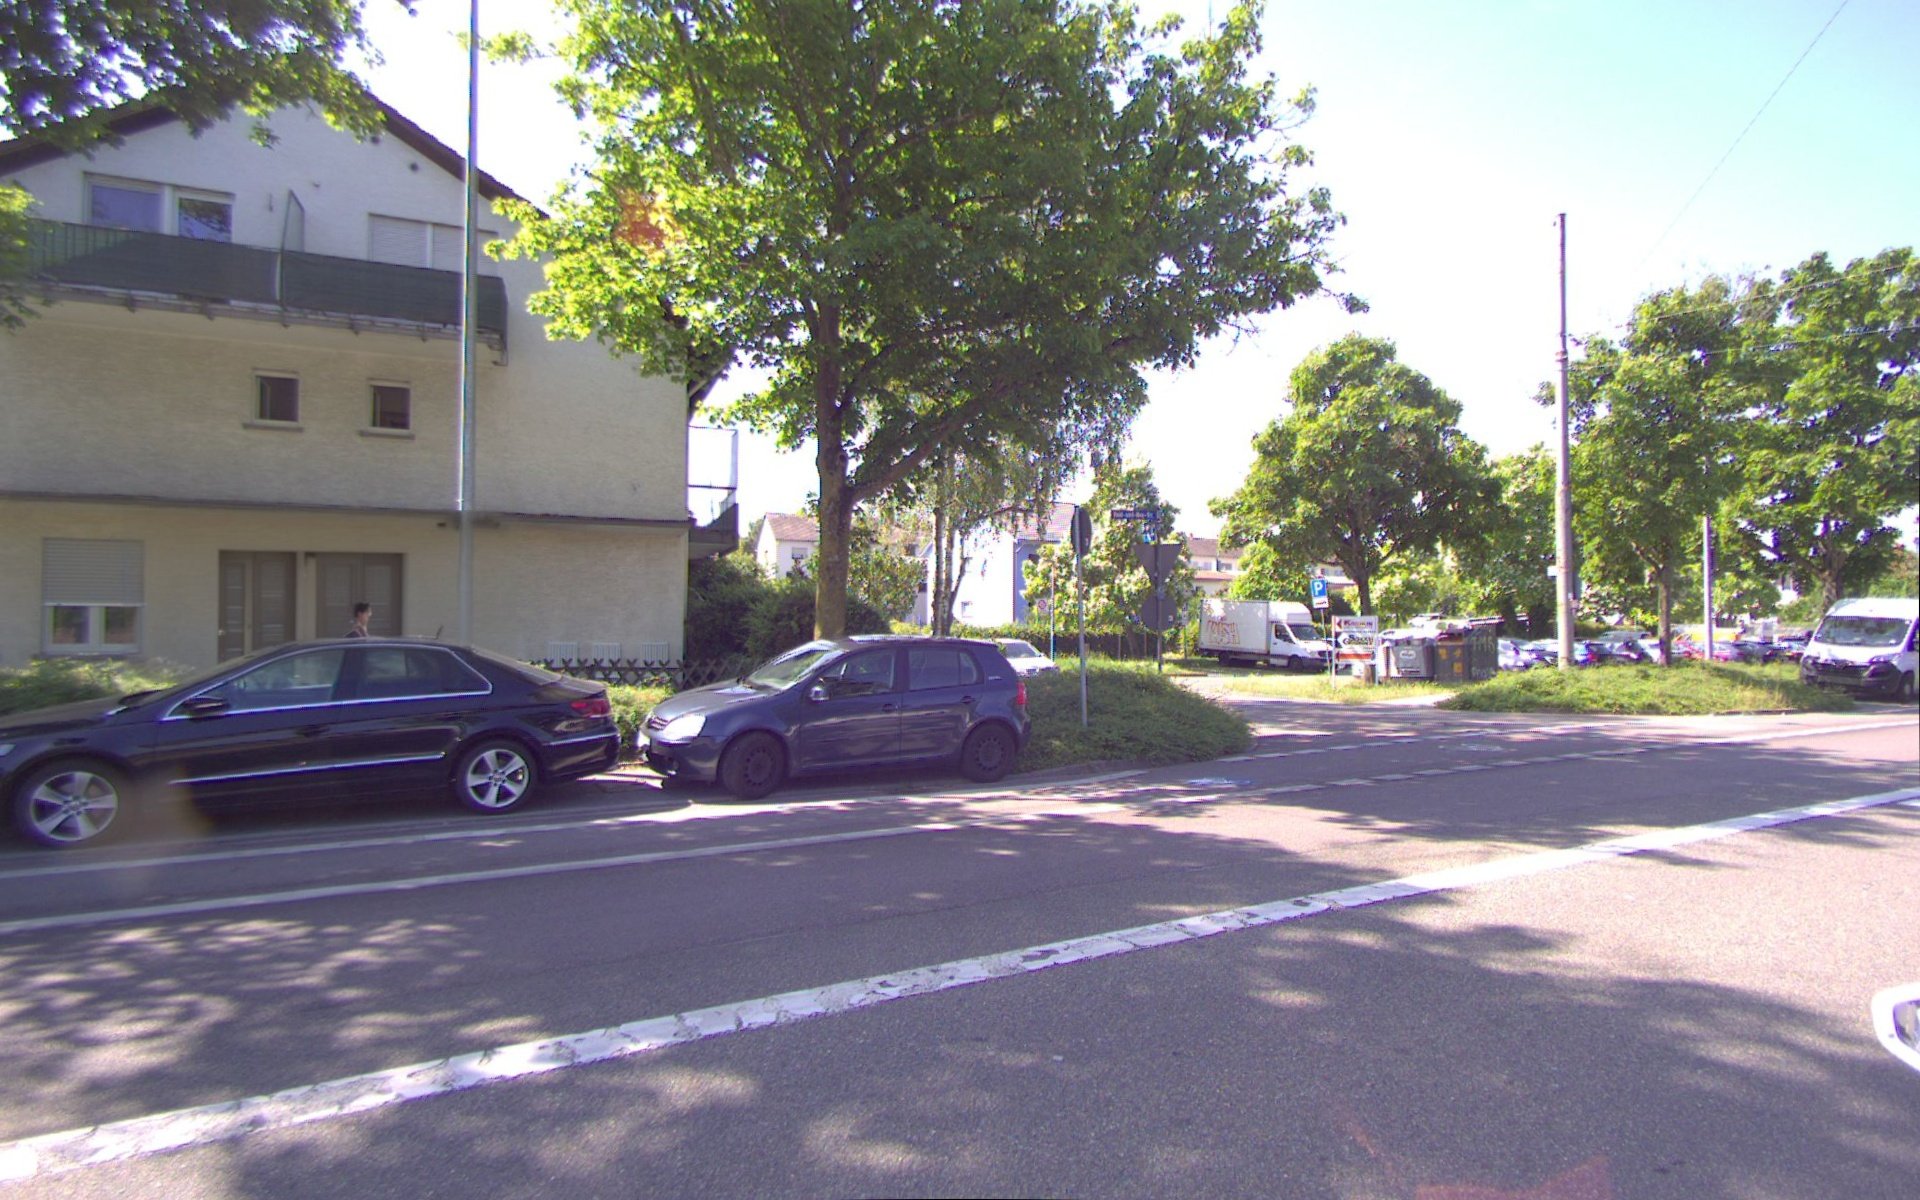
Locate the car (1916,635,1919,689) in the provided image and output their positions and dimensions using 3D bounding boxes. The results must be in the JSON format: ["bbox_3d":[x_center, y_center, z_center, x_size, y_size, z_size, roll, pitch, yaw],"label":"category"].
[{"bbox_3d":[29.357,1.766,28.733,4.148,1.536,1.835,1,-2,-30],"label":"car"}]

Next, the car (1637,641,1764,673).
[{"bbox_3d":[31.136,2.356,42.369,1.748,1.241,3.973,1,-2,-27],"label":"car"}]

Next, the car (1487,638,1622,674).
[{"bbox_3d":[21.771,2.008,36.959,1.748,1.241,3.973,1,-2,-27],"label":"car"}]

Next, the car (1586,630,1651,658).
[{"bbox_3d":[44.890,2.980,68.539,1.535,1.901,3.406,1,-2,-31],"label":"car"}]

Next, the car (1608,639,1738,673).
[{"bbox_3d":[28.919,2.258,40.875,1.748,1.281,3.973,1,-2,-27],"label":"car"}]

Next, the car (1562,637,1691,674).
[{"bbox_3d":[26.599,2.189,40.203,1.748,1.368,3.973,1,-2,-27],"label":"car"}]

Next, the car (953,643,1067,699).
[{"bbox_3d":[1.321,1.951,28.415,1.687,1.437,3.979,1,-2,-23],"label":"car"}]

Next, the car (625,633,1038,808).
[{"bbox_3d":[-1.292,1.123,10.489,3.956,1.470,1.634,2,0,-29],"label":"car"}]

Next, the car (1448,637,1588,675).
[{"bbox_3d":[19.513,1.935,35.289,1.751,1.241,3.967,1,-2,-31],"label":"car"}]

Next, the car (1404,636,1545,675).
[{"bbox_3d":[17.396,1.851,34.159,1.751,1.241,3.967,1,-2,-31],"label":"car"}]

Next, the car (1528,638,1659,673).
[{"bbox_3d":[24.393,2.114,38.828,1.748,1.241,3.973,1,-2,-27],"label":"car"}]

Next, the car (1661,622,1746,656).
[{"bbox_3d":[50.650,2.637,68.524,1.981,2.040,4.228,2,0,-35],"label":"car"}]

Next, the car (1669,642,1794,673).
[{"bbox_3d":[33.392,2.446,43.592,1.748,1.241,3.973,1,-2,-27],"label":"car"}]

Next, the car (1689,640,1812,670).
[{"bbox_3d":[35.242,2.442,44.867,1.748,1.241,3.973,1,-2,-27],"label":"car"}]

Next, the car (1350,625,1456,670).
[{"bbox_3d":[22.842,2.433,51.957,1.980,2.040,4.663,2,0,-34],"label":"car"}]

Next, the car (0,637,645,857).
[{"bbox_3d":[-5.226,1.038,8.344,4.727,1.398,1.682,1,0,-31],"label":"car"}]

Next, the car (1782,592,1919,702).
[{"bbox_3d":[23.997,1.144,25.897,6.227,2.534,2.050,1,1,-28],"label":"car"}]

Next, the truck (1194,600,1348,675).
[{"bbox_3d":[14.271,1.635,46.712,2.206,3.059,7.103,1,1,-31],"label":"truck"}]
